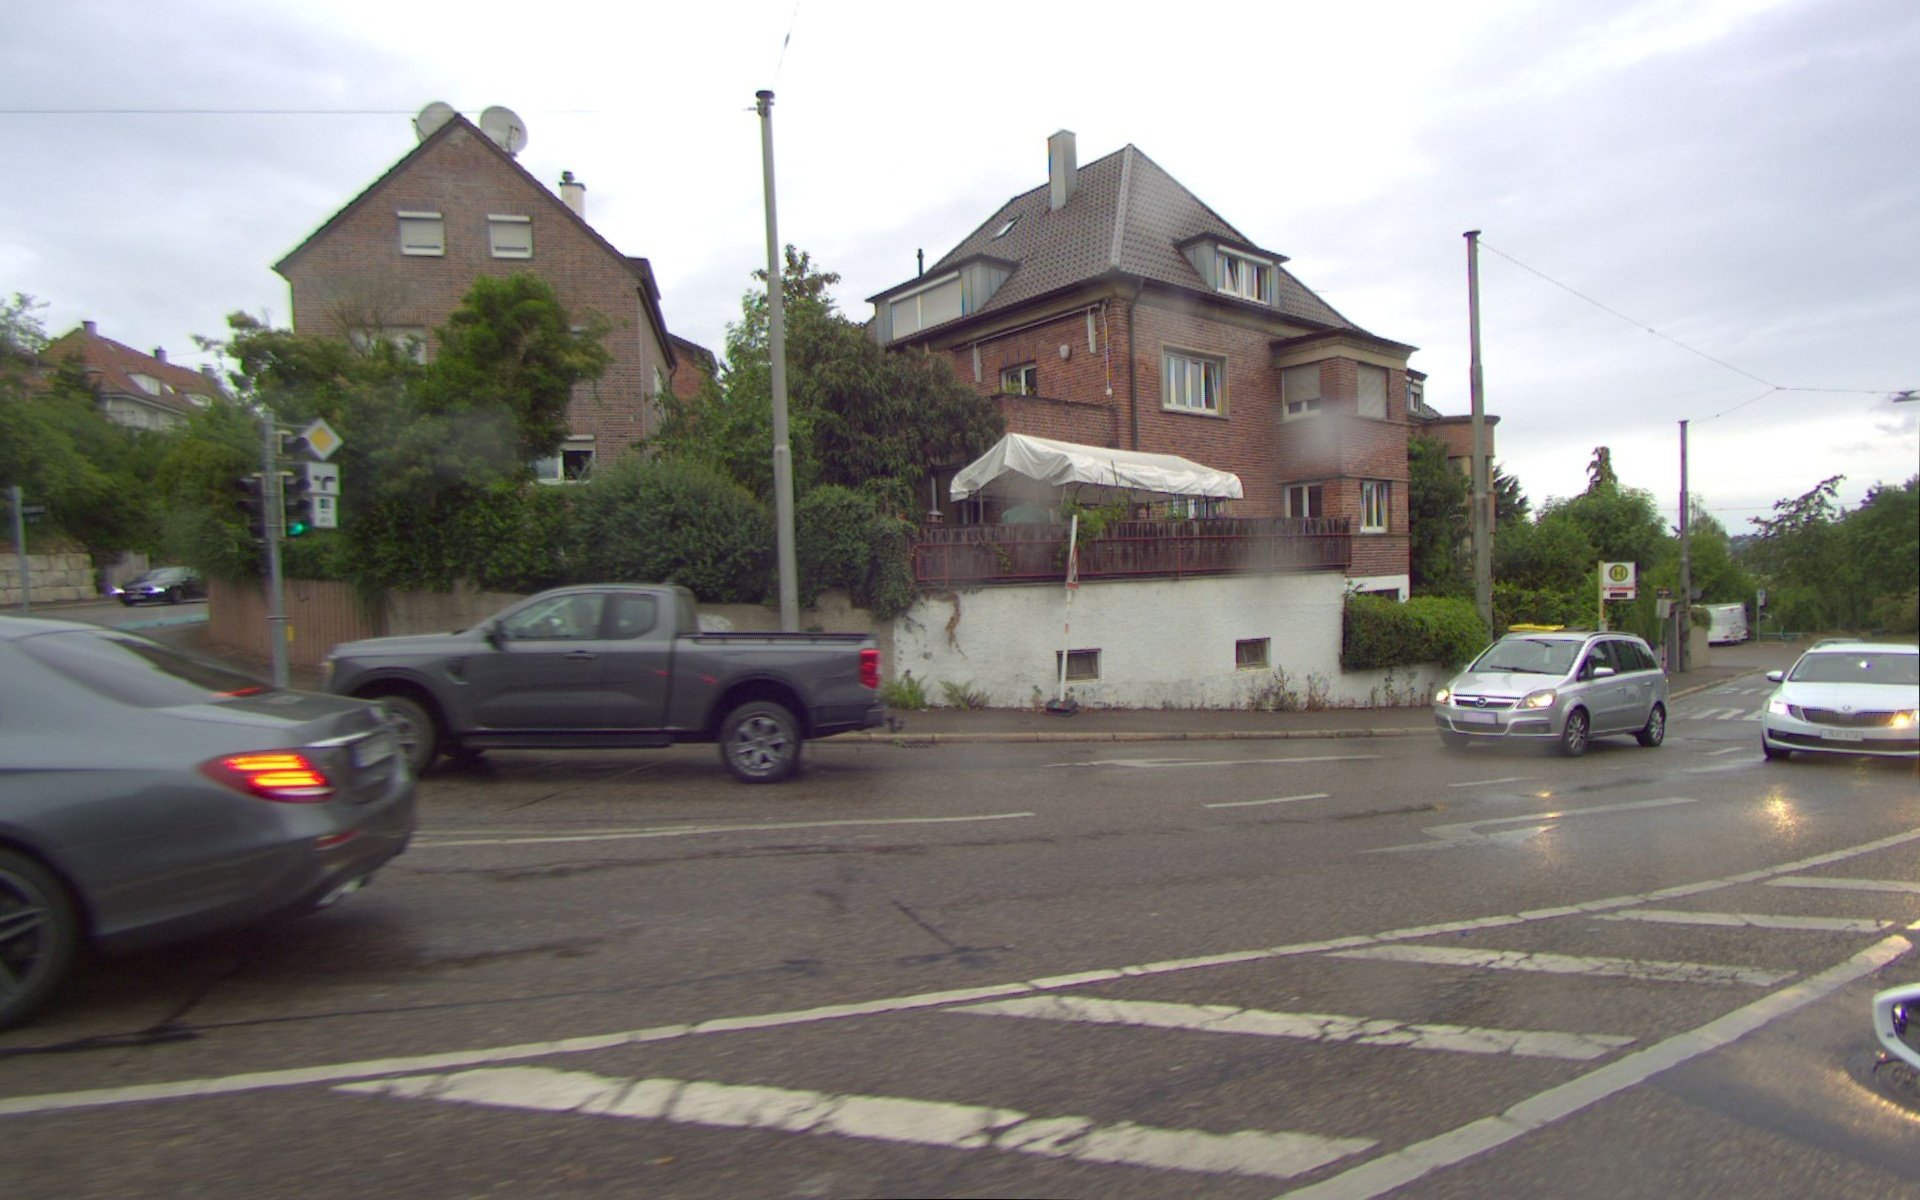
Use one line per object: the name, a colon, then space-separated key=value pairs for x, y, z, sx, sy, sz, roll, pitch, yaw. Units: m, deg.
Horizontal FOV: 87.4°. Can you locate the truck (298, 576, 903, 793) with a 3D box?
truck: x=-3.237 y=0.820 z=9.965 sx=5.182 sy=1.872 sz=1.887 roll=1 pitch=-2 yaw=-8

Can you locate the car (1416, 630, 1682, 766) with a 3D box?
car: x=8.352 y=1.265 z=14.096 sx=4.420 sy=1.606 sz=1.698 roll=2 pitch=-2 yaw=-38

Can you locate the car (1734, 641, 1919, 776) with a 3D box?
car: x=11.866 y=1.308 z=13.266 sx=4.408 sy=1.493 sz=1.831 roll=2 pitch=-4 yaw=-42

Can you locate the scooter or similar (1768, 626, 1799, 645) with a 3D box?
scooter or similar: x=58.683 y=2.527 z=71.569 sx=0.444 sy=1.299 sz=1.705 roll=-3 pitch=-3 yaw=-15

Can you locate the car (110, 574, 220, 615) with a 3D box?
car: x=-30.489 y=-0.234 z=38.679 sx=1.729 sy=1.480 sz=4.030 roll=-1 pitch=1 yaw=-13

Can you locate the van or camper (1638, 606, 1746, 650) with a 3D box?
van or camper: x=54.995 y=2.171 z=75.639 sx=2.358 sy=2.982 sz=6.263 roll=-6 pitch=-1 yaw=-16

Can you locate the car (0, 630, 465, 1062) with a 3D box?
car: x=-4.586 y=0.810 z=3.847 sx=4.522 sy=1.413 sz=1.858 roll=2 pitch=-2 yaw=-17

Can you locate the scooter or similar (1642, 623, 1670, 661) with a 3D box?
scooter or similar: x=22.917 y=1.383 z=33.050 sx=0.517 sy=1.219 sz=1.427 roll=-4 pitch=-3 yaw=43

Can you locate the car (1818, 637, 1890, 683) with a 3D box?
car: x=31.287 y=2.064 z=35.124 sx=1.719 sy=1.469 sz=4.588 roll=-3 pitch=-4 yaw=43

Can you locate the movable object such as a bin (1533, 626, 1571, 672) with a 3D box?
movable object such as a bin: x=15.084 y=1.247 z=25.590 sx=0.755 sy=1.096 sz=0.618 roll=-1 pitch=3 yaw=-45
